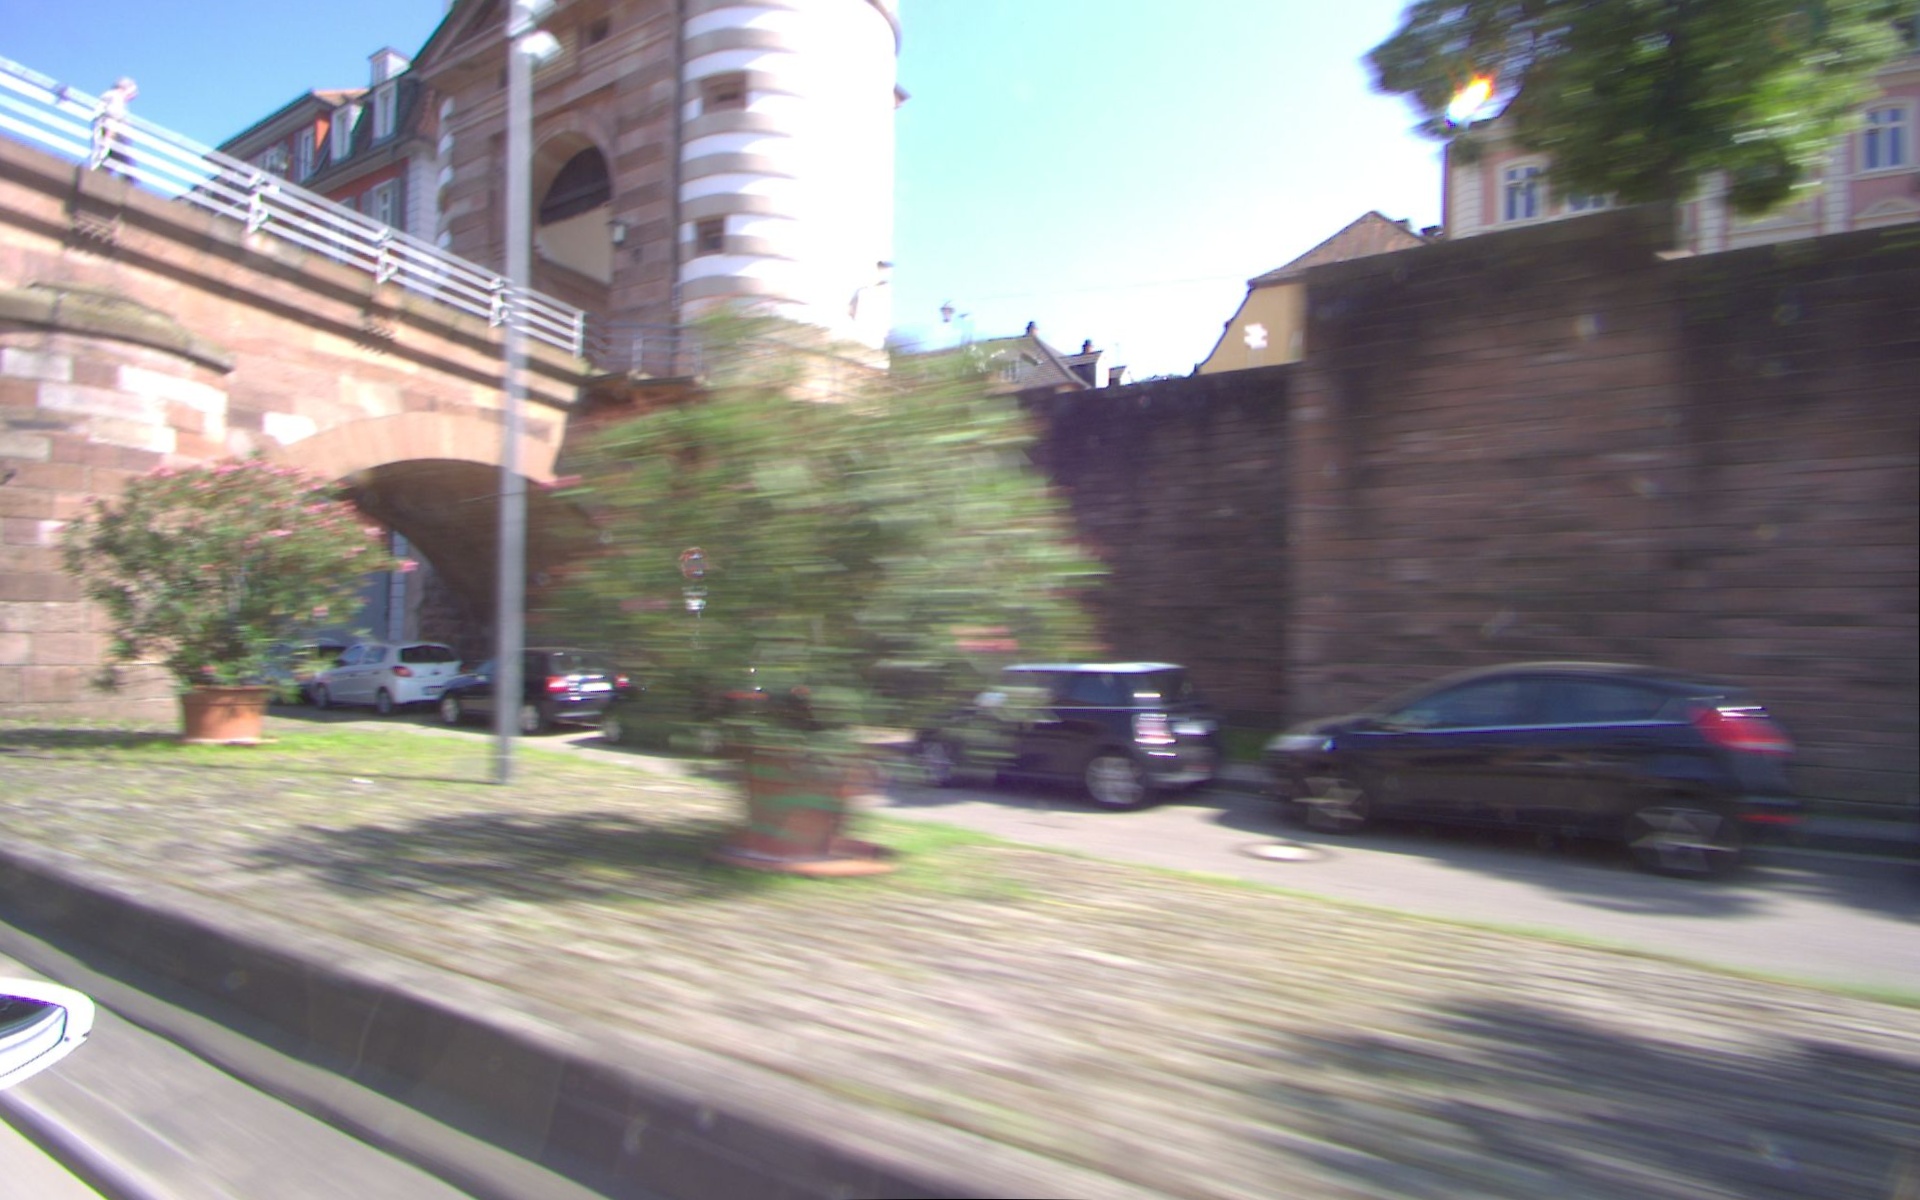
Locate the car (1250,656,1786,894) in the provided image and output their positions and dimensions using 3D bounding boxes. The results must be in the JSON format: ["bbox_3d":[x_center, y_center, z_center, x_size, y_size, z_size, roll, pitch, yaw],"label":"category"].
[{"bbox_3d":[4.465,1.244,8.323,3.672,1.503,1.489,-1,-3,40],"label":"car"}]

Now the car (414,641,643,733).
[{"bbox_3d":[-7.963,1.518,18.342,4.431,1.454,1.772,-1,-3,35],"label":"car"}]

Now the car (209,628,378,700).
[{"bbox_3d":[-15.875,1.460,23.802,4.357,1.511,1.888,0,-2,35],"label":"car"}]

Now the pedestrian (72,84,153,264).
[{"bbox_3d":[-11.468,-5.726,13.559,0.685,2.039,0.623,-1,-2,31],"label":"pedestrian"}]

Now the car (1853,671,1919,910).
[{"bbox_3d":[7.913,1.161,5.542,4.357,1.406,1.703,-2,-2,41],"label":"car"}]

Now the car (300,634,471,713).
[{"bbox_3d":[-12.150,1.494,21.137,3.614,1.495,1.552,0,-2,31],"label":"car"}]

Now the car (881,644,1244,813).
[{"bbox_3d":[1.023,1.287,11.176,3.860,1.539,1.584,-2,-3,42],"label":"car"}]

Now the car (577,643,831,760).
[{"bbox_3d":[-4.000,1.448,15.386,3.937,1.521,1.769,-1,-2,38],"label":"car"}]
